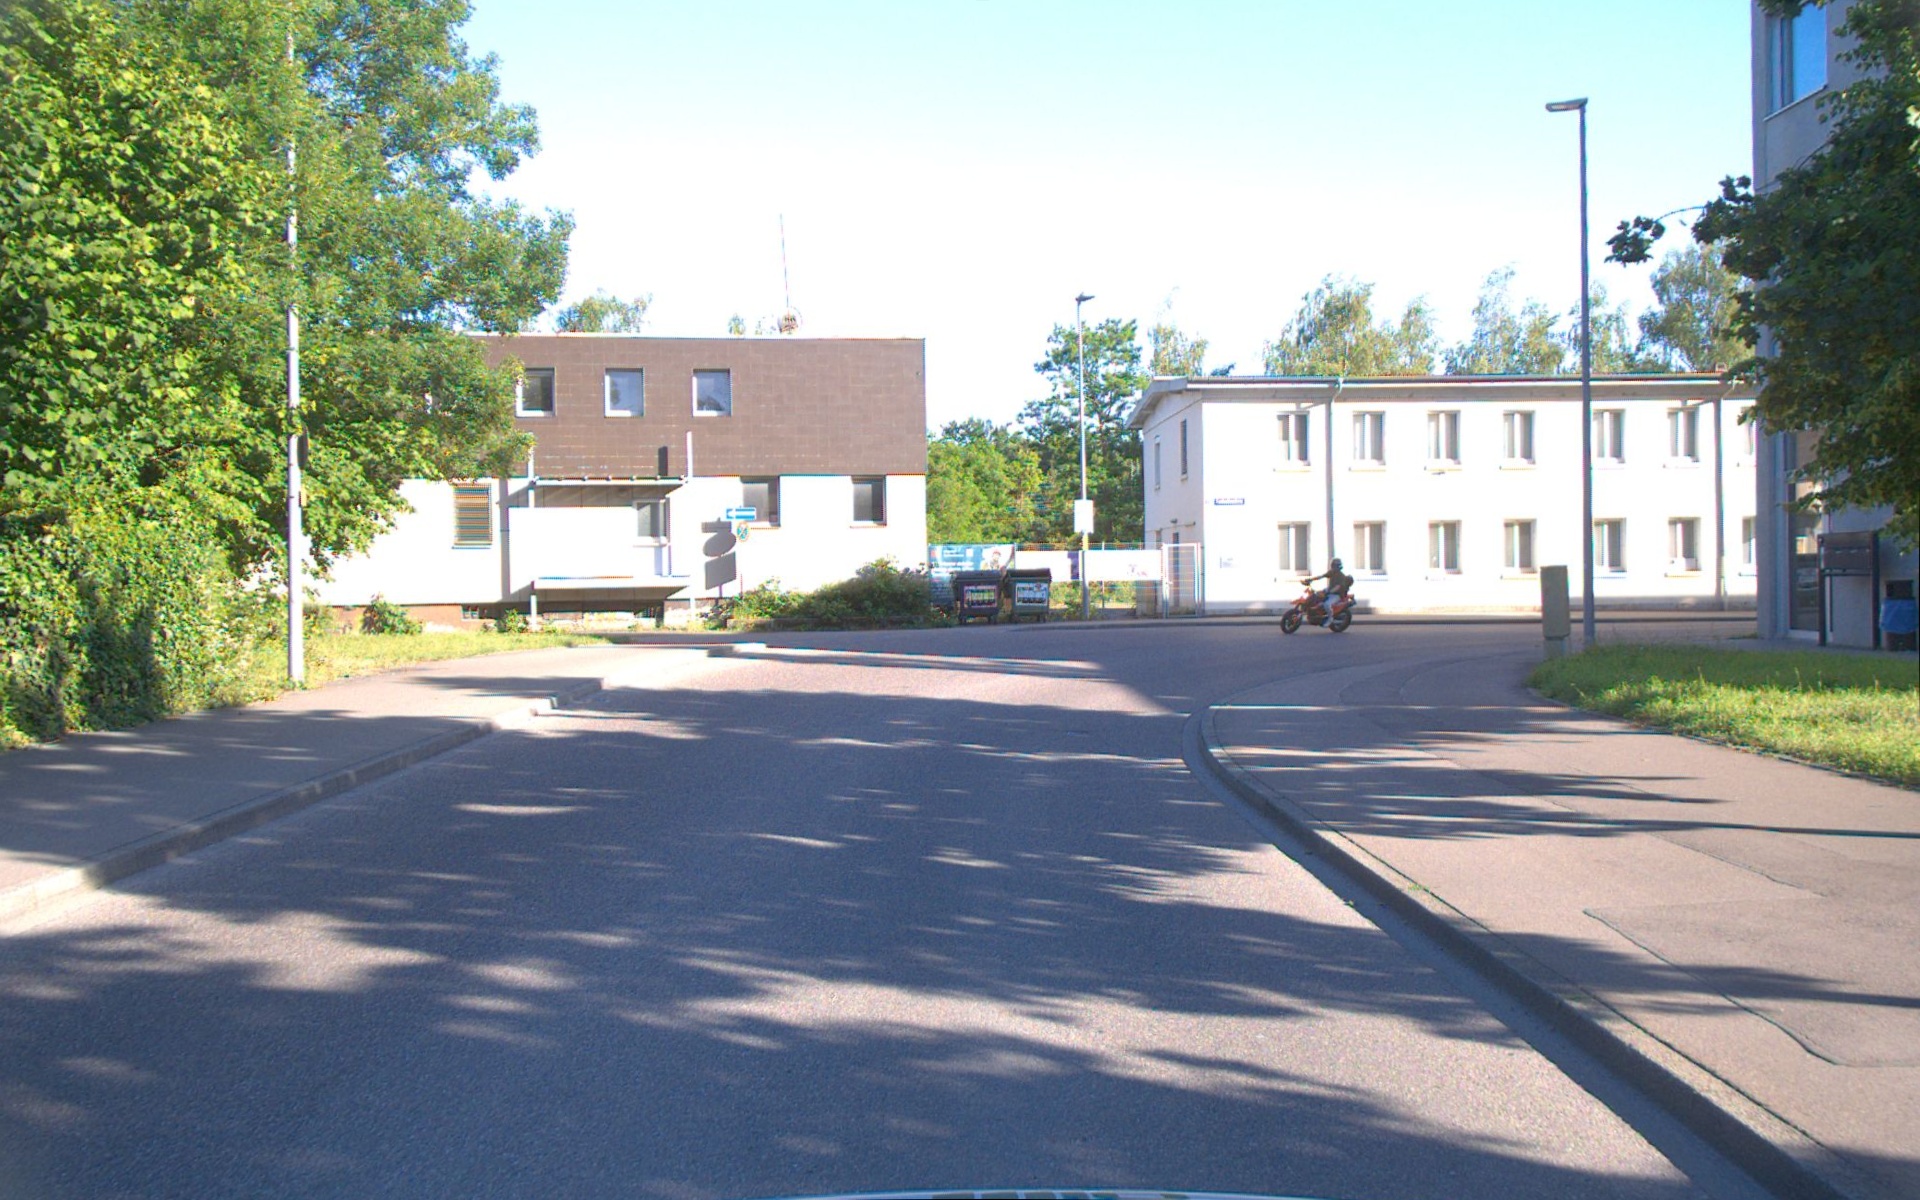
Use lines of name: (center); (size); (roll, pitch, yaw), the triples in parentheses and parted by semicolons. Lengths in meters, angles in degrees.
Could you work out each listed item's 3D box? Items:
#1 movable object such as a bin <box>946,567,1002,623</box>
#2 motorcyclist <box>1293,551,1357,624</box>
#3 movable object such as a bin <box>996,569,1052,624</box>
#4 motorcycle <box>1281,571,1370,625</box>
movable object such as a bin: (0.369, -0.130, 44.358); (1.339, 1.443, 1.064); (1, 0, -8)
motorcyclist: (8.354, -0.292, 37.843); (0.888, 1.580, 1.017); (2, 3, -37)
movable object such as a bin: (1.729, -0.100, 44.729); (1.339, 1.443, 1.064); (1, 0, -8)
motorcycle: (8.374, -0.068, 37.871); (2.015, 1.206, 0.950); (-1, 1, -37)
